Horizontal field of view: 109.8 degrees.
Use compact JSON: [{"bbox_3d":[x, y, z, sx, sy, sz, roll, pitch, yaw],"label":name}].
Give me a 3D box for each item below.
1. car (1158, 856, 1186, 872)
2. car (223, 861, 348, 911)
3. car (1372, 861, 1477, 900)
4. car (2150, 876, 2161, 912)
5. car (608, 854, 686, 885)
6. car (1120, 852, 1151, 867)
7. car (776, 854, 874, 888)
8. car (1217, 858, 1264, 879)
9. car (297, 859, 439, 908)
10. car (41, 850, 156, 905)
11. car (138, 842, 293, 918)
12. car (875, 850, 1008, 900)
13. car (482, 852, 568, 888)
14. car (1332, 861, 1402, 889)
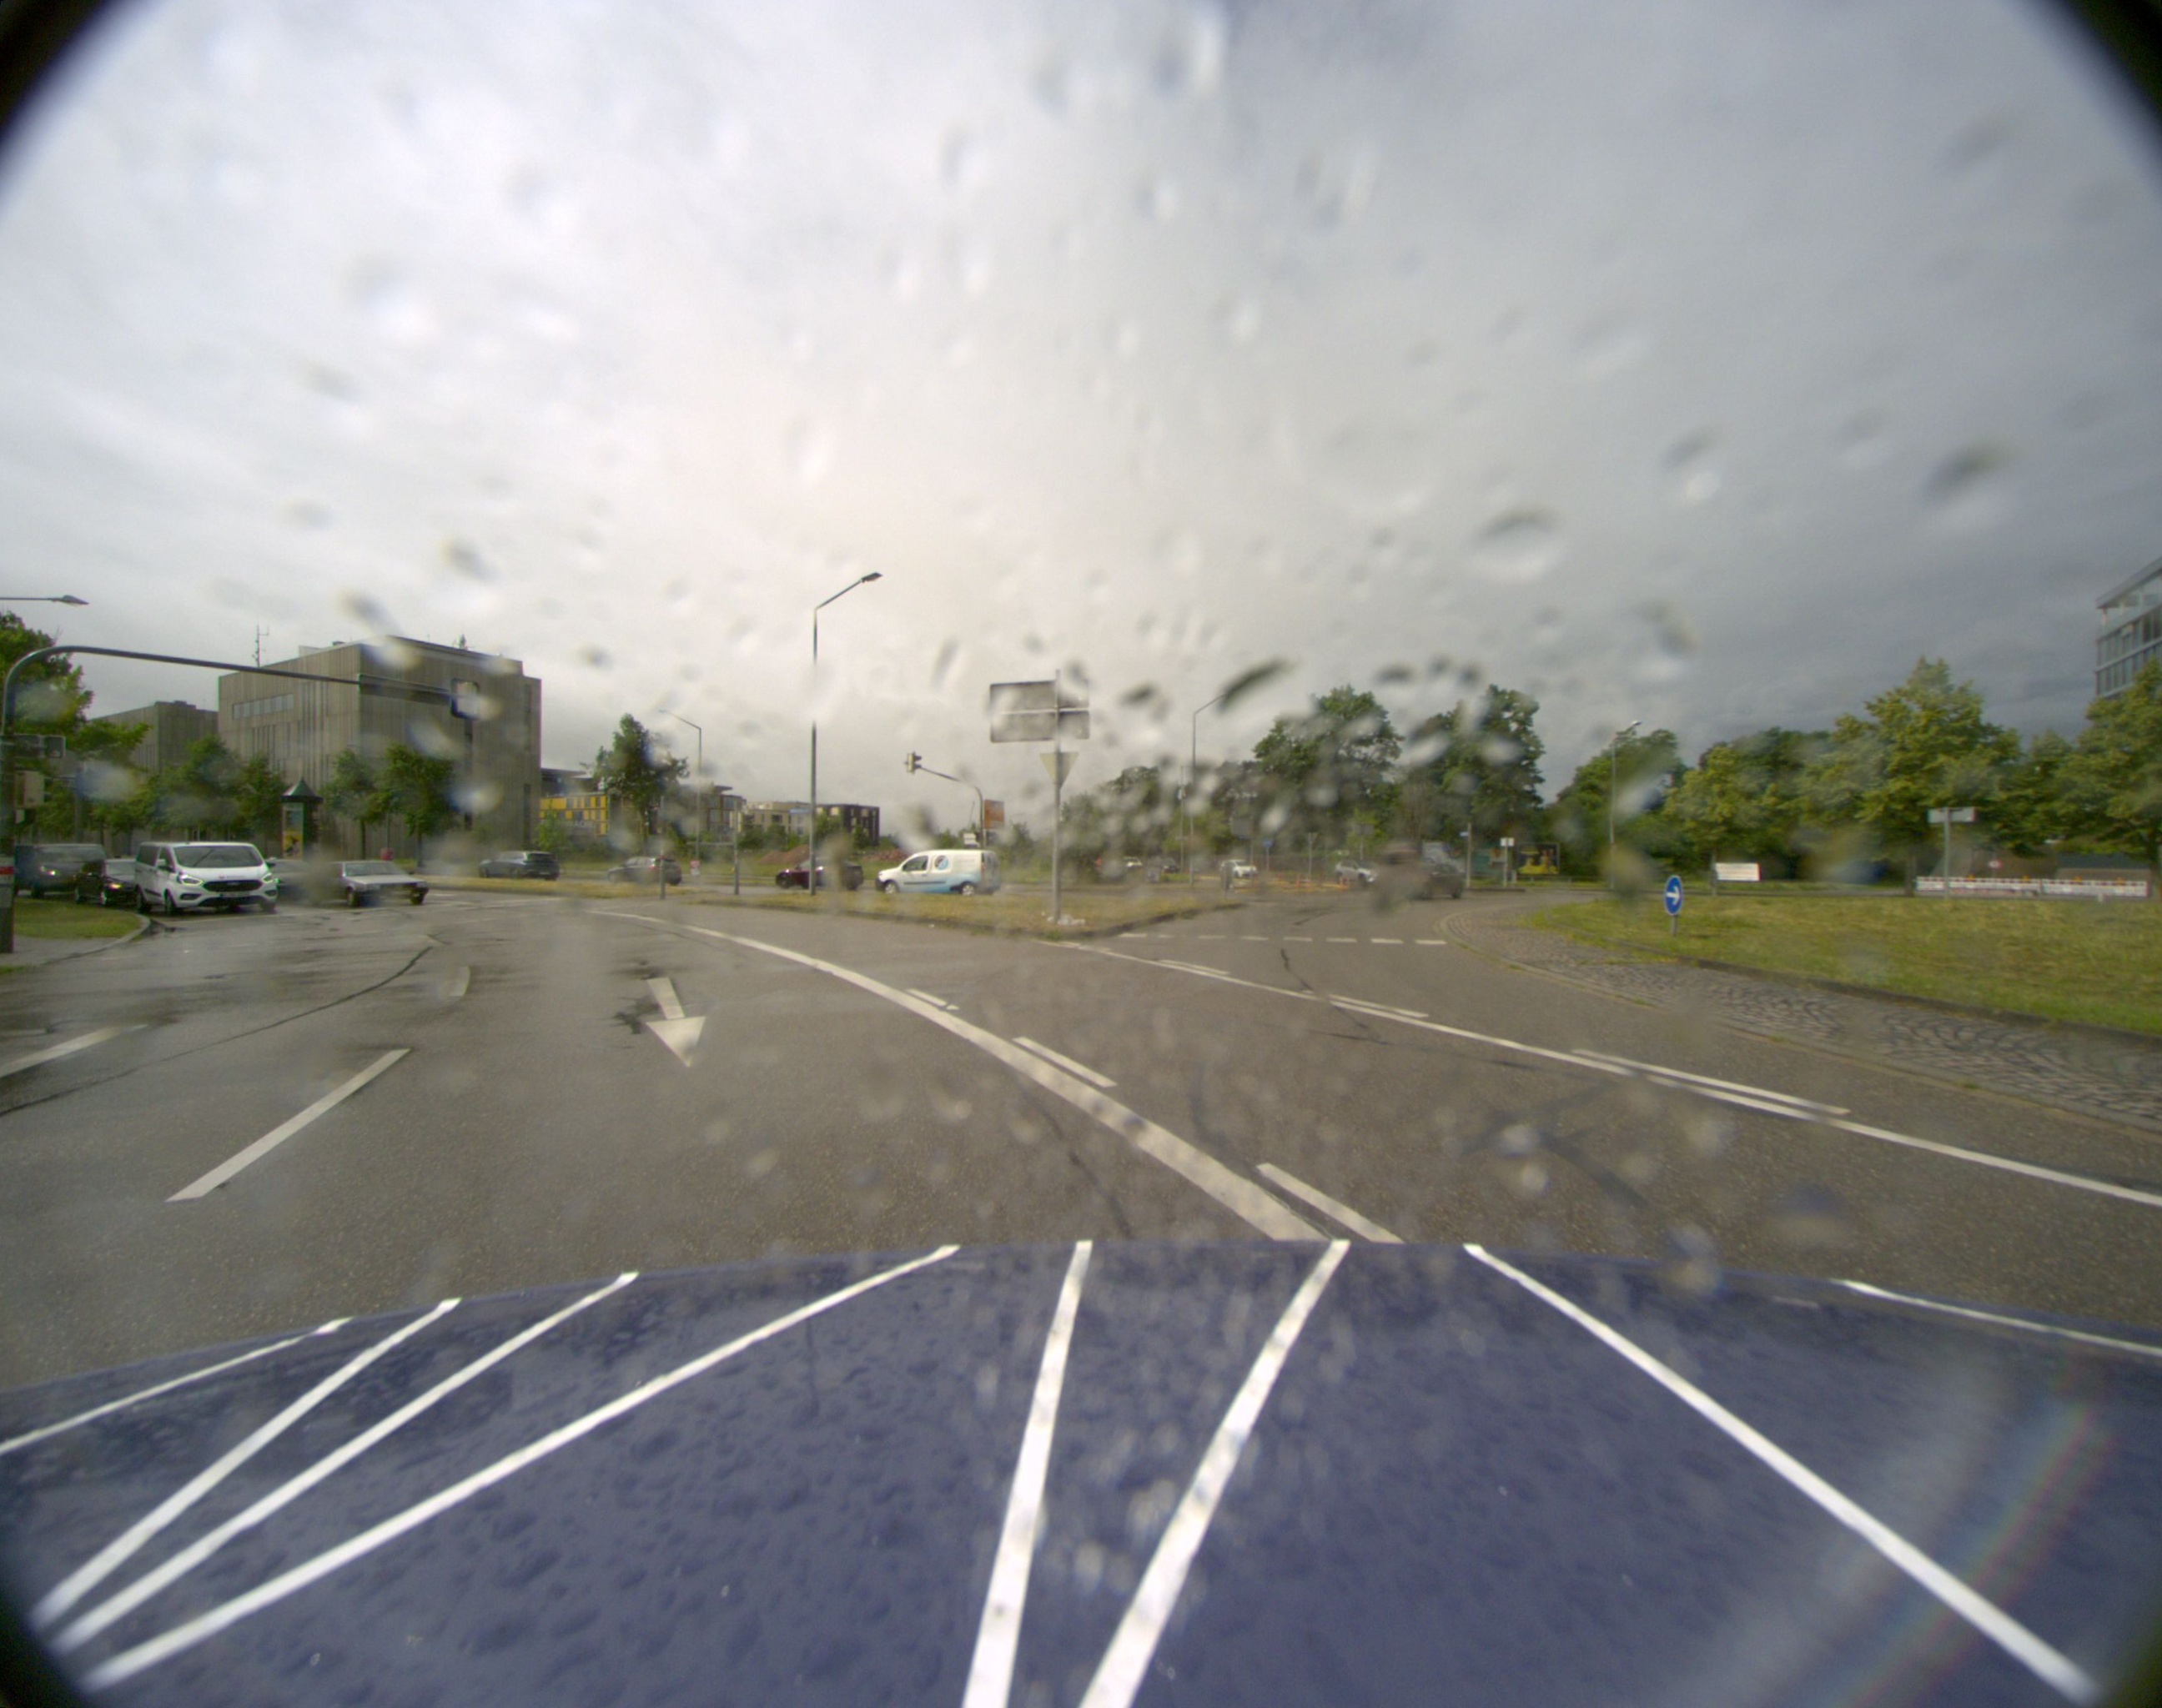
[{"bbox_3d":[9.639,1.110,80.807,1.876,1.653,4.481,2,-2,-8],"label":"car"},{"bbox_3d":[-28.217,1.060,26.927,4.475,1.527,1.871,2,0,27],"label":"car"},{"bbox_3d":[13.369,1.002,29.500,4.135,1.405,1.731,0,-1,-33],"label":"car"},{"bbox_3d":[51.917,1.911,34.133,4.463,1.662,1.868,2,0,9],"label":"car"},{"bbox_3d":[-22.961,0.780,40.172,3.989,1.519,1.814,1,0,31],"label":"car"},{"bbox_3d":[6.532,0.668,90.824,1.878,1.653,4.475,2,-1,-22],"label":"car"},{"bbox_3d":[-13.142,0.862,39.106,4.490,1.647,1.878,1,-1,17],"label":"car"},{"bbox_3d":[13.531,1.193,64.673,1.877,1.653,4.476,-1,0,-18],"label":"car"},{"bbox_3d":[-22.741,0.878,24.211,4.539,1.372,1.871,0,1,27],"label":"car"},{"bbox_3d":[-38.137,0.863,29.475,4.787,1.976,2.083,0,0,30],"label":"car"},{"bbox_3d":[-25.117,0.670,22.014,4.787,1.976,2.082,0,1,31],"label":"car"},{"bbox_3d":[-5.205,0.748,28.460,4.542,1.752,1.870,0,0,15],"label":"car"},{"bbox_3d":[-29.283,0.810,40.000,4.310,1.747,2.047,1,-1,29],"label":"car"},{"bbox_3d":[17.995,1.277,48.068,1.877,1.653,4.477,0,0,-15],"label":"car"}]
